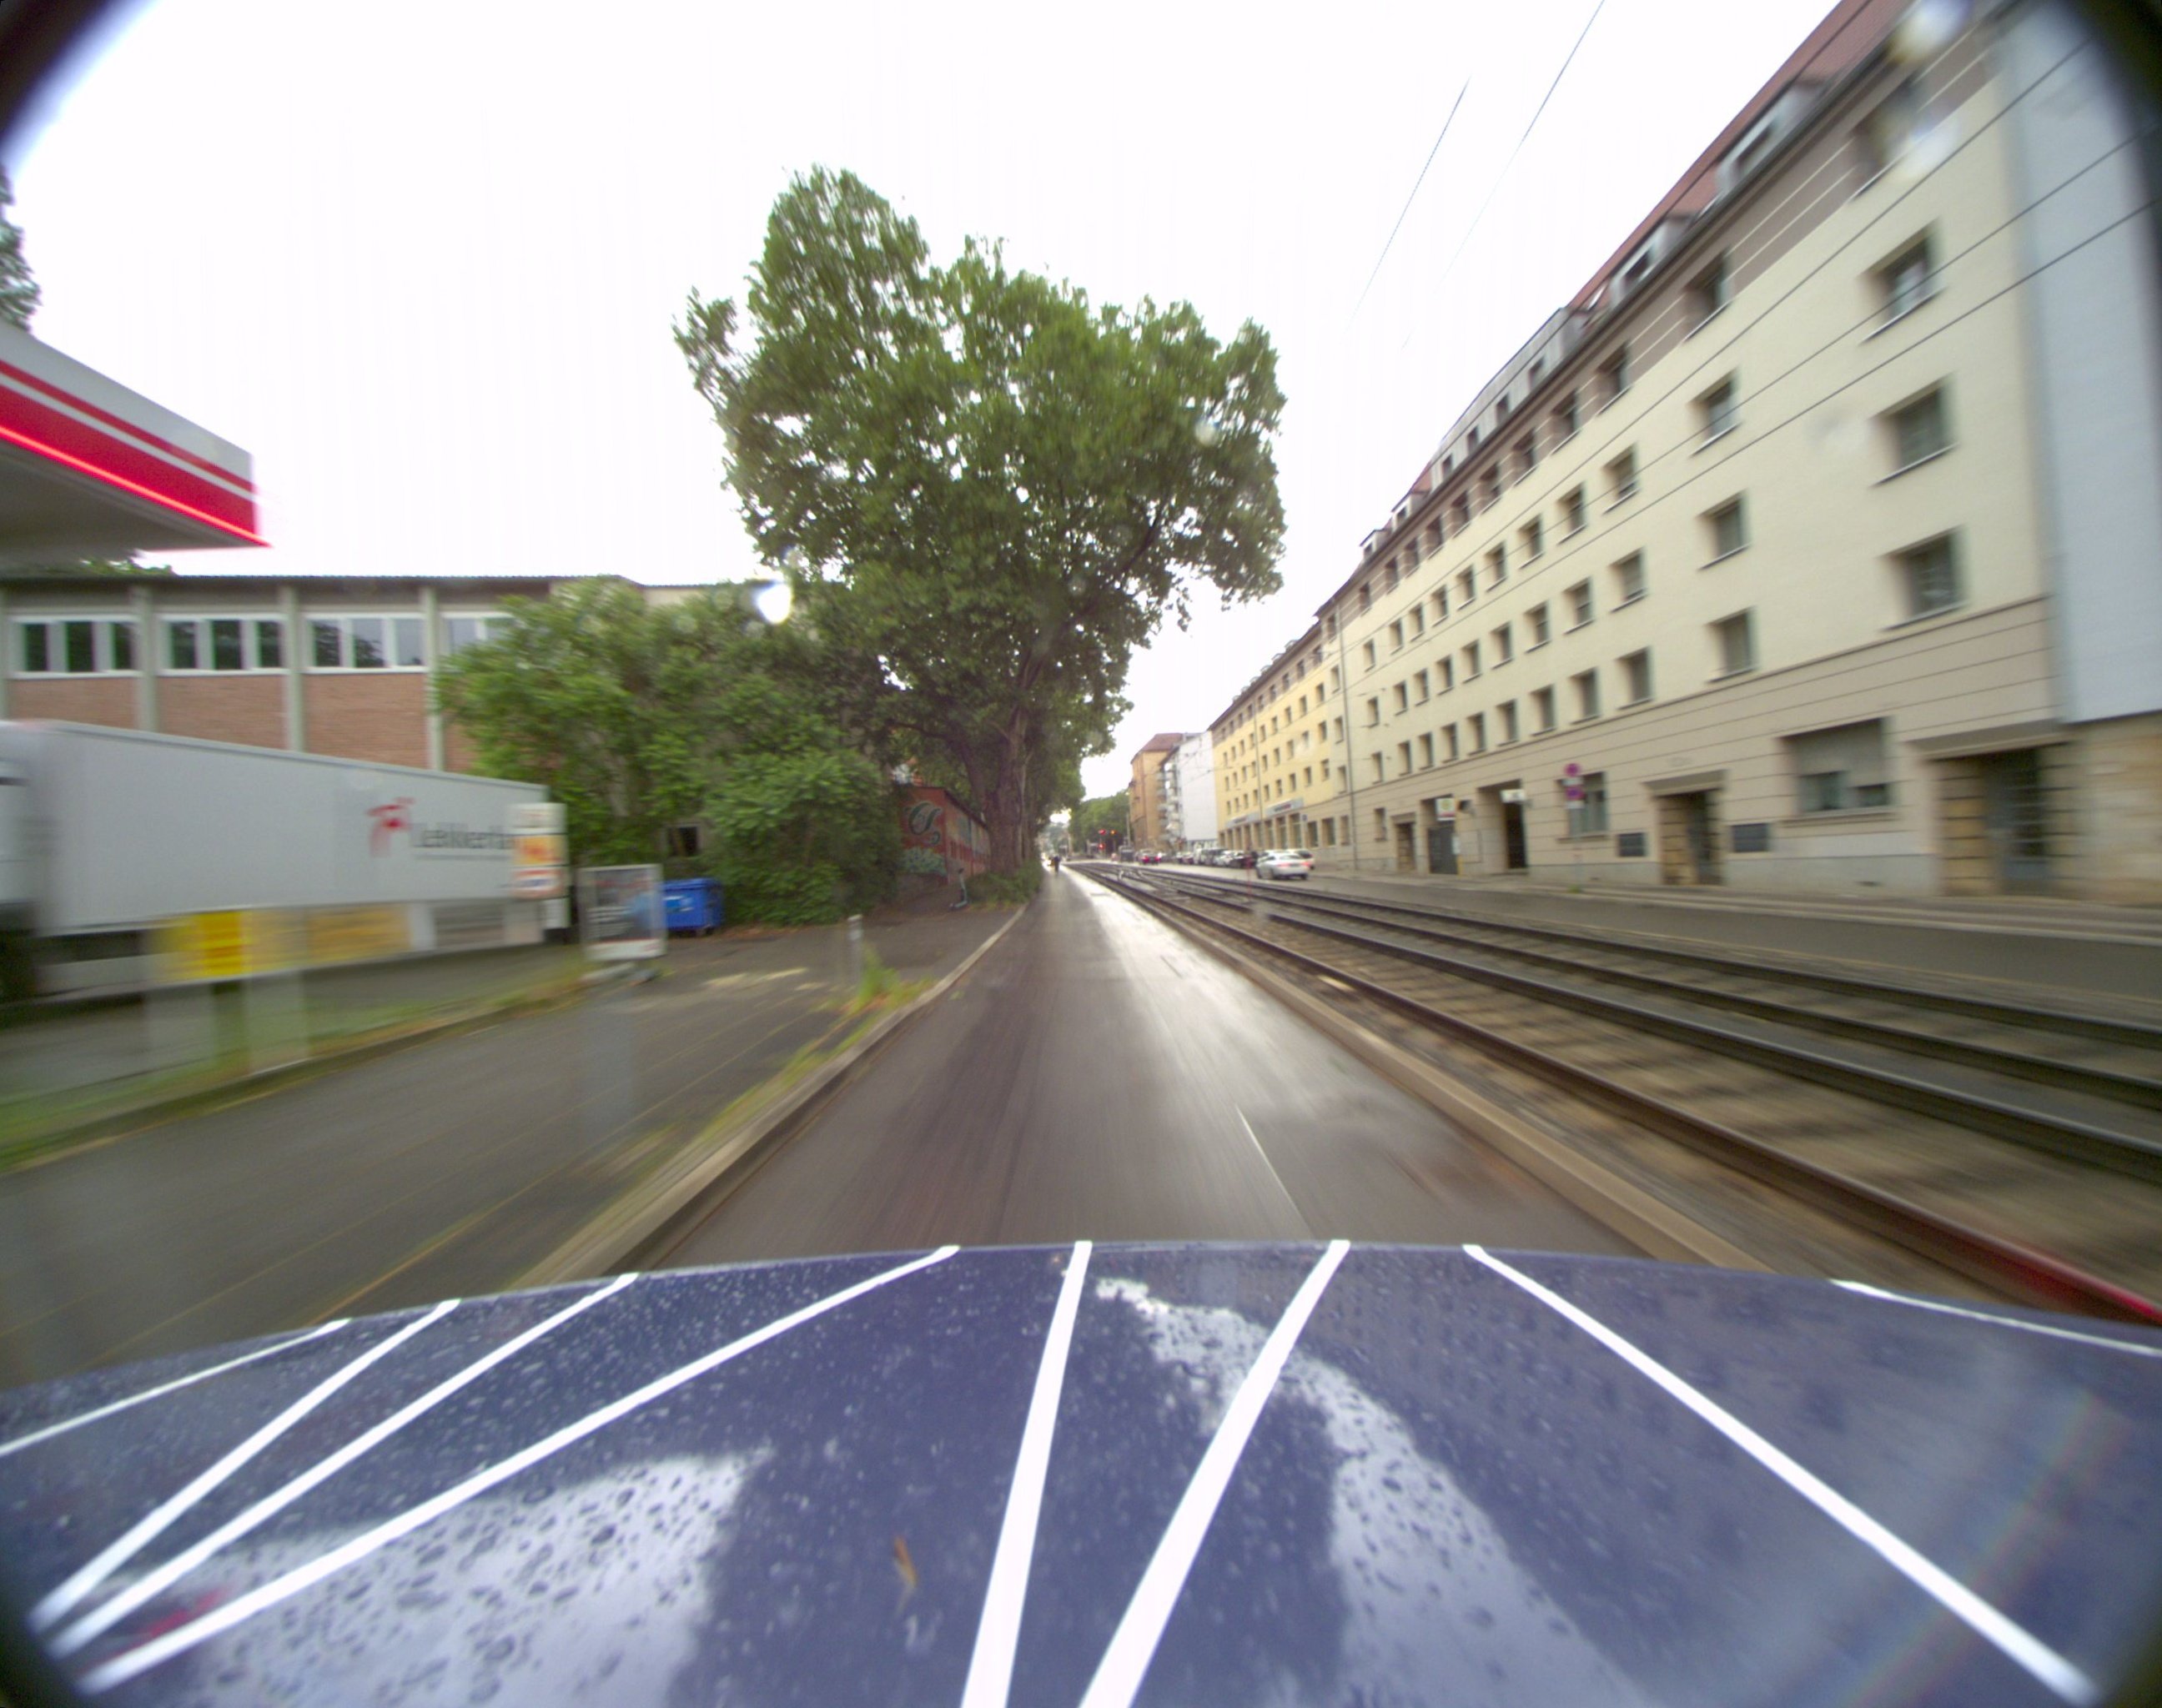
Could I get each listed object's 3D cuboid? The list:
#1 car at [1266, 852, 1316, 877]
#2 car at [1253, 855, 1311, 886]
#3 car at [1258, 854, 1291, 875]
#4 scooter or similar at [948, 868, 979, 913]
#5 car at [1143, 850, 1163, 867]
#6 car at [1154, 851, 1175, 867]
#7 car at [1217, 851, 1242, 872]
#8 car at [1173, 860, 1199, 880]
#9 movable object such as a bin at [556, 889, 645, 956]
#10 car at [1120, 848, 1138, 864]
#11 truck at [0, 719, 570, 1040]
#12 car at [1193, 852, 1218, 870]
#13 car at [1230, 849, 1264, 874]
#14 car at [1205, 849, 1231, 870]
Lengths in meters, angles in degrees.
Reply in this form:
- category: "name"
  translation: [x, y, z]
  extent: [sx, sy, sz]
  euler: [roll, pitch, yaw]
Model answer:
- category: "car"
  translation: [14.274, 0.706, 51.830]
  extent: [2.031, 1.533, 3.998]
  euler: [-2, 1, -5]
- category: "car"
  translation: [10.867, 0.832, 41.426]
  extent: [1.691, 1.528, 5.016]
  euler: [-2, 0, -1]
- category: "car"
  translation: [14.204, 0.747, 55.975]
  extent: [1.326, 1.476, 3.189]
  euler: [-2, 1, -5]
- category: "scooter or similar"
  translation: [-3.515, 1.076, 22.749]
  extent: [0.400, 1.186, 1.363]
  euler: [-1, 3, 12]
- category: "car"
  translation: [8.705, 0.548, 92.583]
  extent: [1.949, 2.002, 3.999]
  euler: [-2, 1, -1]
- category: "car"
  translation: [11.482, 0.678, 104.159]
  extent: [2.031, 2.002, 4.225]
  euler: [-2, 1, -5]
- category: "car"
  translation: [13.377, 0.649, 68.608]
  extent: [1.377, 1.743, 3.404]
  euler: [-2, 1, -5]
- category: "car"
  translation: [11.707, 1.748, 85.002]
  extent: [2.031, 2.002, 4.225]
  euler: [-2, 1, -5]
- category: "movable object such as a bin"
  translation: [-10.746, 1.509, 17.041]
  extent: [1.286, 1.392, 1.073]
  euler: [-1, 0, 1]
- category: "car"
  translation: [7.404, 0.288, 117.792]
  extent: [2.184, 2.420, 4.748]
  euler: [-2, 1, -1]
- category: "truck"
  translation: [-13.093, 0.274, 11.917]
  extent: [2.660, 3.548, 10.256]
  euler: [-2, 1, 3]
- category: "car"
  translation: [12.990, 0.674, 79.555]
  extent: [1.727, 1.798, 3.590]
  euler: [-2, 1, -5]
- category: "car"
  translation: [13.762, 0.553, 63.172]
  extent: [1.729, 1.948, 4.297]
  euler: [-2, 1, -2]
- category: "car"
  translation: [13.165, 0.522, 73.188]
  extent: [1.557, 1.872, 4.040]
  euler: [-2, 1, -2]
